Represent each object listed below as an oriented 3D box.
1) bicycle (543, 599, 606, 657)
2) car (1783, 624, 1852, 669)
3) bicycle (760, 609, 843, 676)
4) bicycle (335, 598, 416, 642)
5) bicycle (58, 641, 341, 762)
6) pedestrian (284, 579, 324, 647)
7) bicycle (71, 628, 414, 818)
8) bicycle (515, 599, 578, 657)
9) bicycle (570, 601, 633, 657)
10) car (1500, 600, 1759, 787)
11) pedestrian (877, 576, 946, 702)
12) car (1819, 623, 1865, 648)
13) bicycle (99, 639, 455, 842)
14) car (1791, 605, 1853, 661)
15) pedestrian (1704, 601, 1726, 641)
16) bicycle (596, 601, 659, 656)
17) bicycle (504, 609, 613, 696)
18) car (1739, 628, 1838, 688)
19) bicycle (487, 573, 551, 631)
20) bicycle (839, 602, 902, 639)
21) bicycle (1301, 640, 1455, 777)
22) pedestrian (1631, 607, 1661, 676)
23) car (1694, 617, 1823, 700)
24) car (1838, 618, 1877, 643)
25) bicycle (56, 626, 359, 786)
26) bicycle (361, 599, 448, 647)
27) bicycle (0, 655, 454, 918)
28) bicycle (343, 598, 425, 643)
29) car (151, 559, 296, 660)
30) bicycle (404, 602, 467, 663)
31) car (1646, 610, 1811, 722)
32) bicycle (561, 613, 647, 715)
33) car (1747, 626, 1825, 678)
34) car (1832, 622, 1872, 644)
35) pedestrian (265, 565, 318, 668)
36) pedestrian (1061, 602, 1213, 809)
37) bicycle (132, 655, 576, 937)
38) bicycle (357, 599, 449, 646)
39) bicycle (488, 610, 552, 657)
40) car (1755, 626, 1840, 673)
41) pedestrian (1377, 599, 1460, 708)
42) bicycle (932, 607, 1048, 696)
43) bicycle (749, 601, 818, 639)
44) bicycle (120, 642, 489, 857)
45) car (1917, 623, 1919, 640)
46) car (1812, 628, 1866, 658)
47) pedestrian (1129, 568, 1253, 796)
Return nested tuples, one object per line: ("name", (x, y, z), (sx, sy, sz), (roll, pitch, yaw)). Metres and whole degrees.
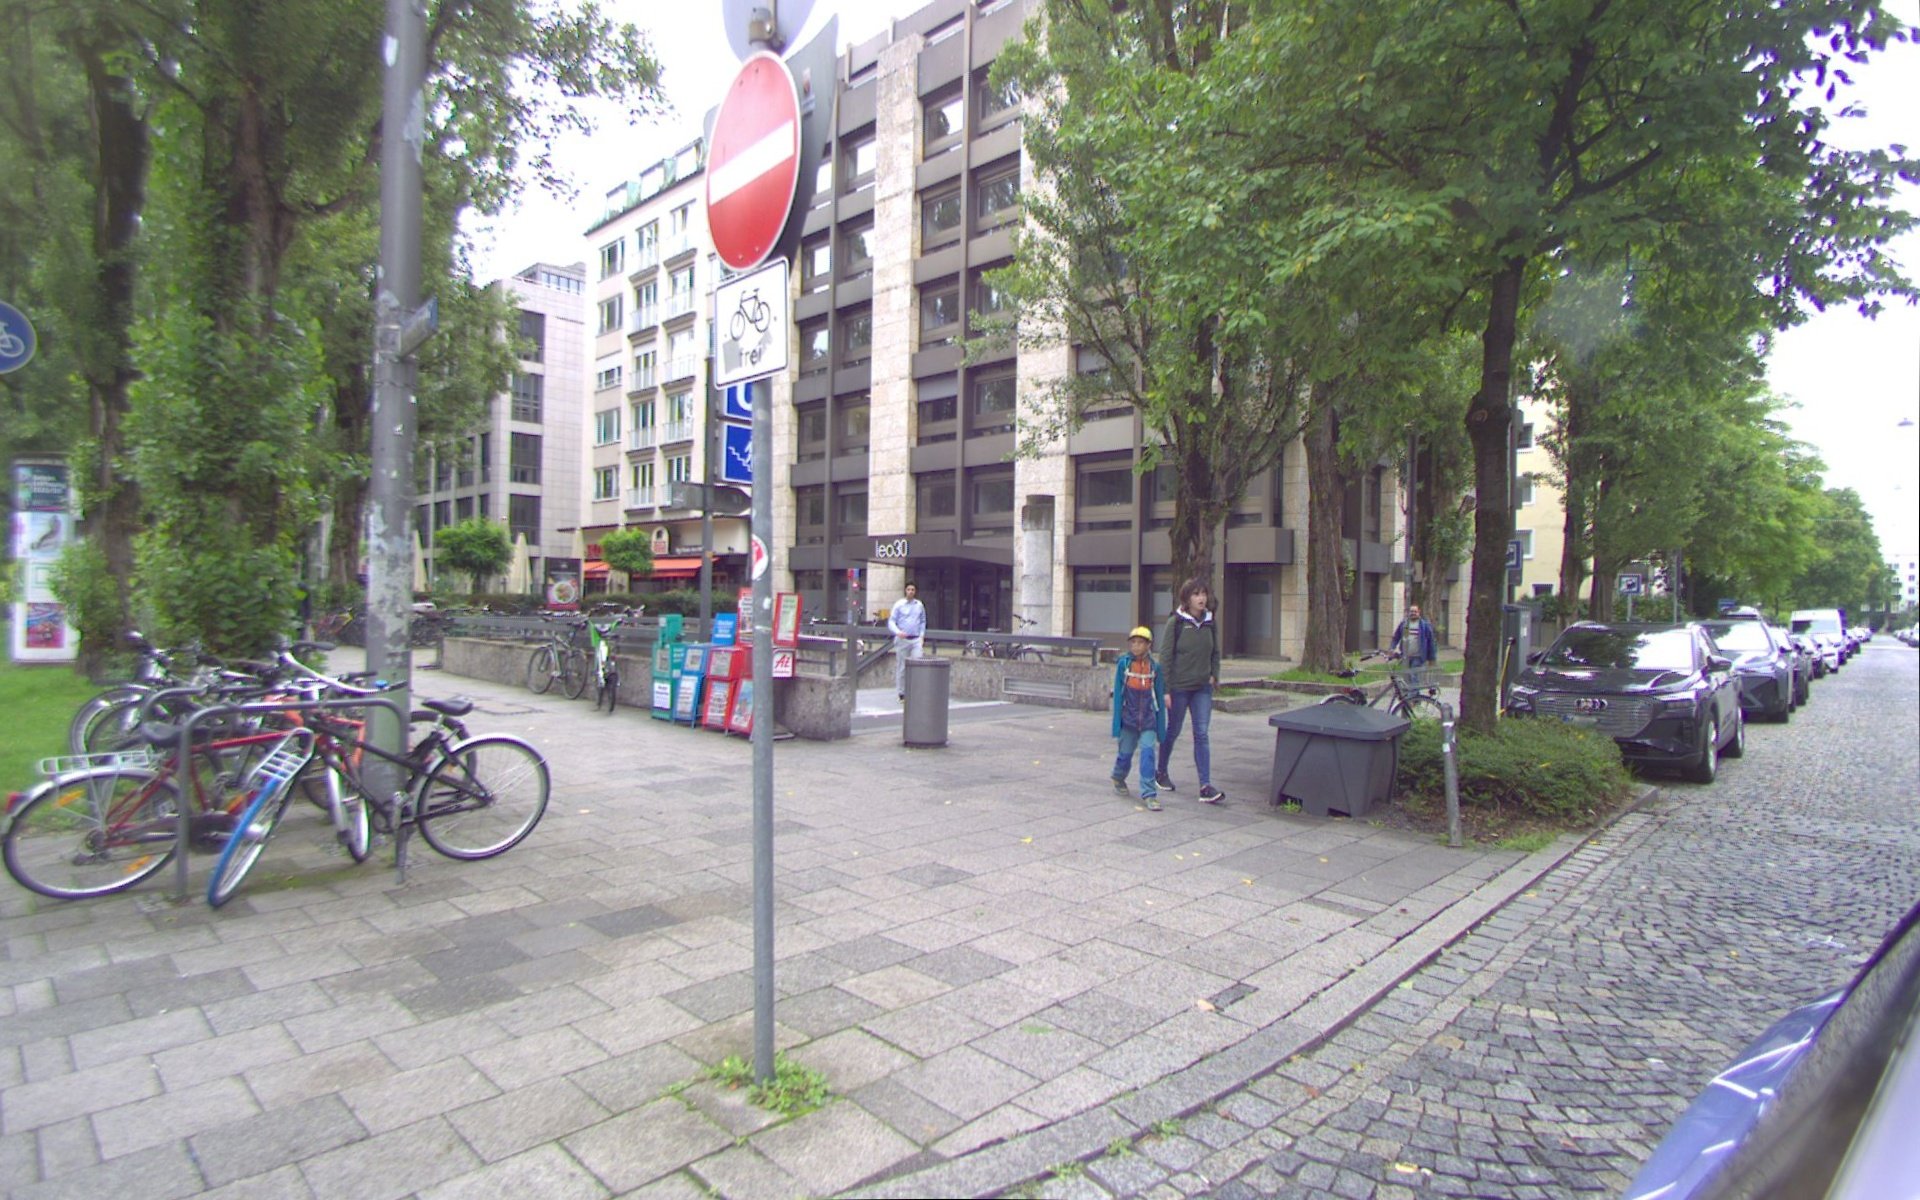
("bicycle", (-8.435, 0.591, 22.090), (0.578, 1.174, 1.864), (2, -1, -44))
("car", (31.787, 1.676, 37.528), (1.860, 1.518, 3.816), (-1, -1, 40))
("bicycle", (-3.032, 0.784, 19.282), (0.578, 1.174, 1.864), (2, -1, -44))
("bicycle", (-16.121, 0.546, 27.950), (1.838, 1.174, 0.586), (2, -1, -44))
("bicycle", (-6.140, 0.784, 8.258), (1.801, 0.828, 0.471), (0, 0, -41))
("pedestrian", (-15.981, 0.310, 24.655), (0.686, 1.627, 0.832), (2, -1, -41))
("bicycle", (-4.944, 0.781, 7.095), (0.511, 1.119, 1.900), (1, 0, 43))
("bicycle", (-8.869, 0.582, 21.664), (0.578, 1.174, 1.864), (2, -1, -44))
("bicycle", (-7.997, 0.617, 22.527), (0.578, 1.174, 1.864), (2, -1, -44))
("car", (7.785, 0.898, 11.592), (1.919, 1.722, 4.137), (0, -1, 42))
("pedestrian", (-0.695, 0.544, 14.508), (0.668, 1.746, 0.701), (1, -1, 44))
("car", (52.444, 2.106, 60.224), (1.991, 1.405, 3.816), (-1, -1, 40))
("bicycle", (-4.313, 0.820, 6.513), (1.846, 1.064, 0.474), (0, 1, -45))
("car", (39.955, 1.473, 46.874), (2.080, 2.464, 5.526), (-1, -1, 41))
("pedestrian", (29.799, 0.825, 39.954), (0.643, 1.557, 0.699), (1, -1, 40))
("bicycle", (-7.566, 0.624, 22.976), (0.578, 1.174, 1.864), (2, -1, -44))
("bicycle", (-5.903, 0.742, 14.842), (1.858, 1.174, 0.580), (1, -1, 36))
("car", (21.907, 1.477, 26.710), (1.718, 1.408, 4.139), (-3, -3, 43))
("bicycle", (-9.251, 0.033, 21.191), (0.578, 1.174, 1.864), (2, -1, -44))
("bicycle", (-2.937, 0.678, 33.495), (0.646, 1.170, 2.210), (1, 0, 43))
("bicycle", (3.970, 0.971, 9.541), (1.842, 1.151, 0.475), (1, -1, -38))
("pedestrian", (16.691, 1.004, 24.624), (0.558, 1.649, 0.489), (2, -1, -43))
("car", (17.642, 1.198, 22.274), (1.992, 1.603, 4.276), (0, -1, 42))
("car", (65.412, 2.200, 73.817), (1.991, 1.711, 3.816), (-1, -1, 40))
("bicycle", (-5.682, 0.748, 7.734), (1.801, 1.051, 0.512), (0, 0, -41))
("bicycle", (-14.130, 0.578, 25.768), (1.838, 1.174, 0.586), (1, -1, -44))
("bicycle", (-3.613, 0.834, 5.077), (1.845, 1.064, 0.474), (2, -1, -45))
("bicycle", (-15.659, 0.564, 27.540), (1.838, 1.174, 0.586), (2, 0, -44))
("car", (-15.955, 0.165, 21.801), (1.785, 1.920, 5.189), (2, 0, -44))
("bicycle", (-10.707, 0.638, 20.635), (0.578, 1.174, 1.979), (2, -1, -44))
("car", (13.820, 1.059, 18.084), (2.011, 1.722, 4.602), (0, -1, 42))
("bicycle", (-4.591, 0.777, 12.981), (0.576, 1.174, 1.870), (1, 0, -34))
("car", (24.776, 1.509, 30.314), (1.599, 1.449, 3.507), (-2, -2, 42))
("car", (62.363, 2.292, 70.804), (1.991, 1.405, 3.816), (1, 0, 41))
("pedestrian", (-12.445, 0.303, 18.845), (0.688, 1.864, 0.705), (2, -1, -43))
("pedestrian", (1.324, 0.746, 7.628), (0.802, 1.437, 0.771), (1, 0, -30))
("bicycle", (-2.898, 0.857, 5.051), (0.473, 1.064, 1.850), (1, 0, 38))
("bicycle", (-14.455, 0.573, 26.309), (1.998, 1.174, 0.586), (1, -1, -44))
("bicycle", (-11.874, 0.881, 27.301), (1.854, 1.174, 0.581), (1, 0, 31))
("car", (28.003, 1.602, 33.796), (1.992, 1.405, 3.813), (-1, -1, 43))
("pedestrian", (7.576, 0.856, 16.750), (0.893, 1.736, 0.870), (1, -1, -27))
("bicycle", (0.450, 0.778, 16.083), (0.710, 1.293, 1.864), (1, -1, -44))
("bicycle", (-5.634, 0.645, 32.447), (0.646, 1.170, 2.210), (1, 0, 43))
("bicycle", (-3.934, 0.830, 6.209), (1.846, 1.064, 0.474), (0, 1, -45))
("car", (83.797, 2.713, 86.981), (1.991, 1.428, 3.816), (-1, -1, 40))
("car", (44.479, 2.169, 51.261), (1.991, 1.405, 3.816), (-1, -1, 40))
("pedestrian", (1.844, 0.620, 8.110), (0.651, 1.722, 0.691), (2, -1, -30))
